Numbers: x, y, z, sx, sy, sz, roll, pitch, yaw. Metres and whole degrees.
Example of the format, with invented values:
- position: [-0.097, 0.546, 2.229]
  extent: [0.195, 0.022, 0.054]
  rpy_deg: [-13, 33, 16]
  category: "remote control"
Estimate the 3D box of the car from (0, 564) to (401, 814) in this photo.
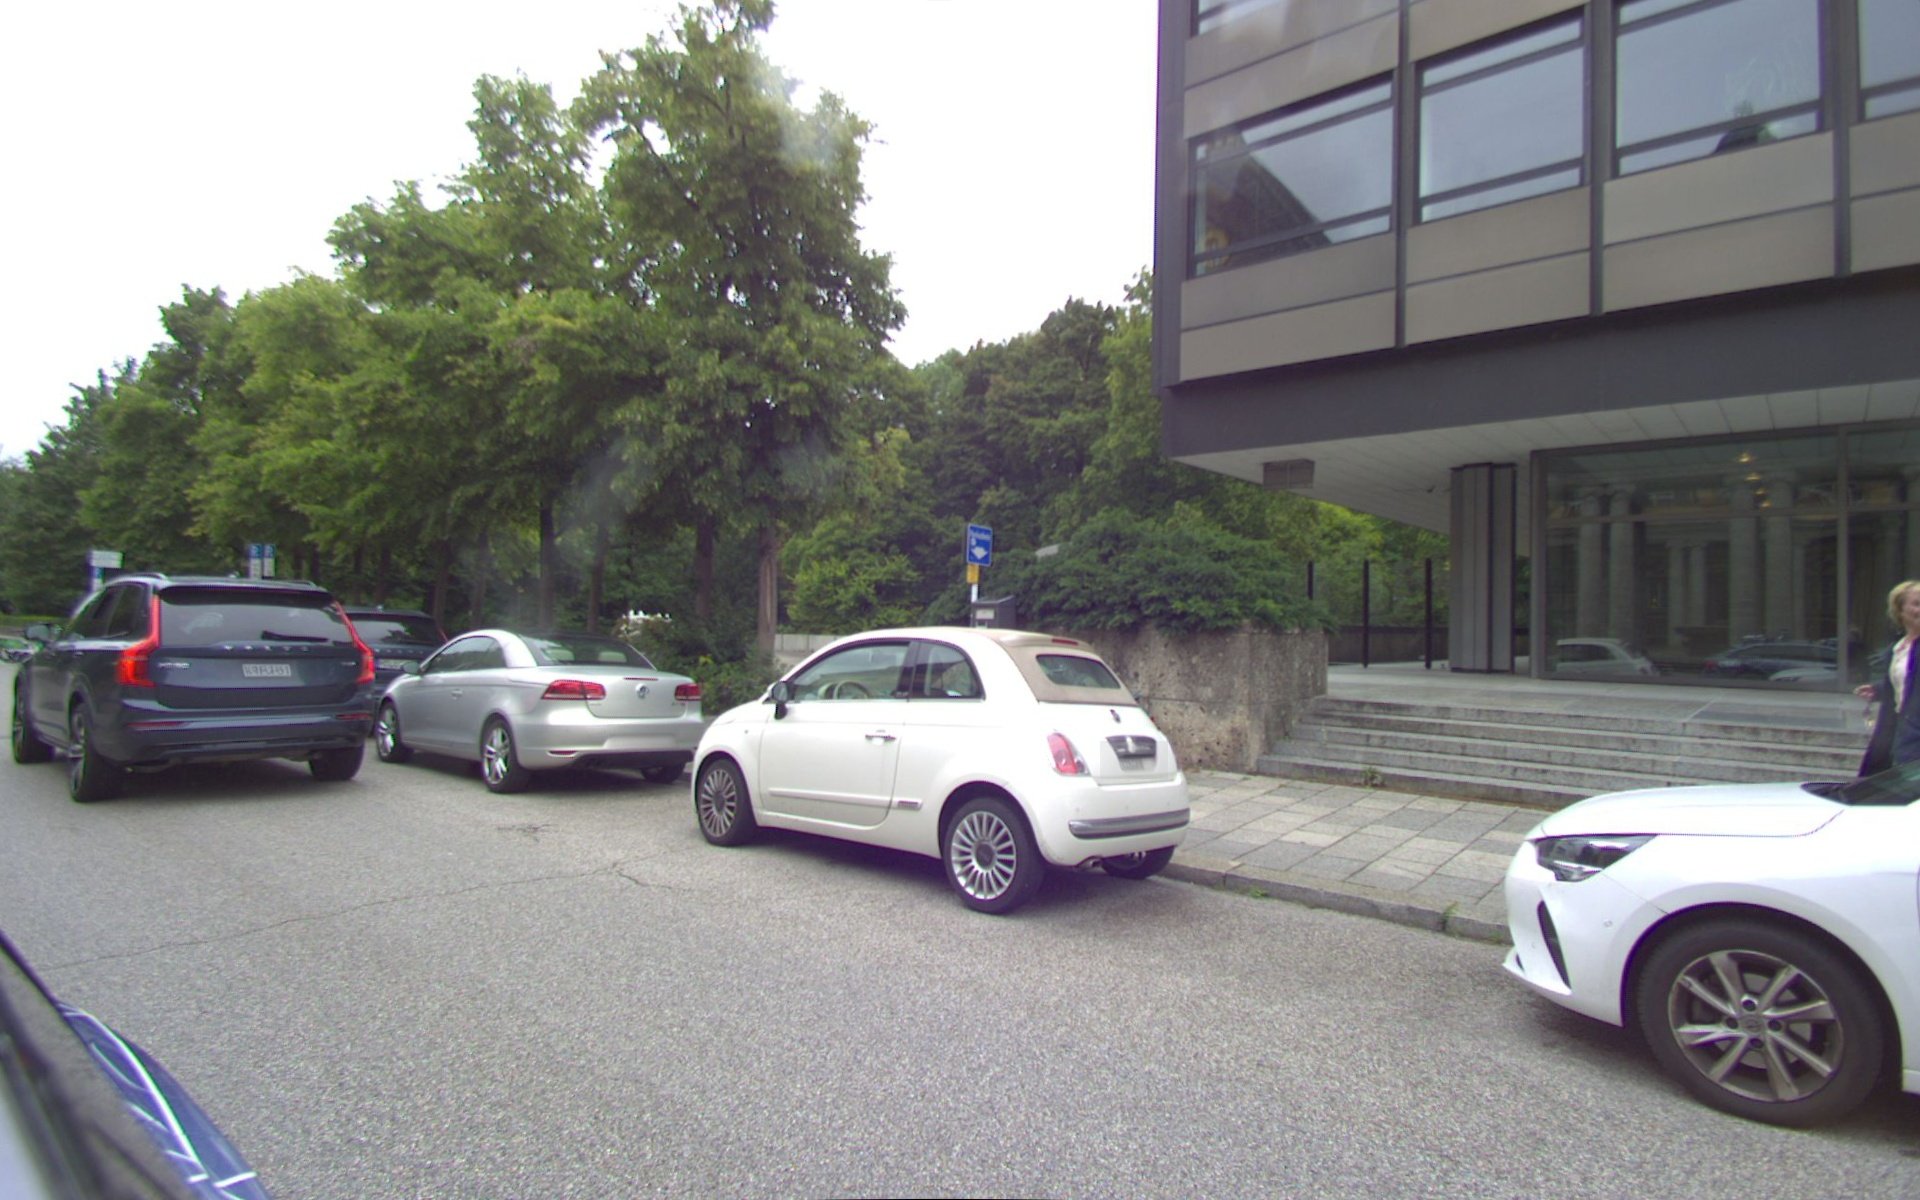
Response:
- position: [-7.141, 0.680, 9.224]
  extent: [4.909, 1.694, 1.940]
  rpy_deg: [-1, -4, 41]
  category: "car"

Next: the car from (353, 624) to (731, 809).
- position: [-4.228, 1.007, 9.894]
  extent: [4.217, 1.411, 1.739]
  rpy_deg: [-1, -6, 43]
  category: "car"

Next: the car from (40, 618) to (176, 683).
- position: [-21.202, 1.208, 25.126]
  extent: [4.363, 1.472, 1.972]
  rpy_deg: [-1, -3, 42]
  category: "car"

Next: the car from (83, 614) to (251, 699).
- position: [-16.340, 1.113, 20.770]
  extent: [4.363, 1.555, 1.972]
  rpy_deg: [-1, -3, 42]
  category: "car"

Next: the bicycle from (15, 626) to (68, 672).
- position: [-26.575, 1.401, 29.314]
  extent: [0.566, 1.292, 1.423]
  rpy_deg: [0, -1, -16]
  category: "bicycle"

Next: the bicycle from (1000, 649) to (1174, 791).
- position: [1.177, 1.084, 9.581]
  extent: [1.526, 1.173, 0.636]
  rpy_deg: [-1, 0, 40]
  category: "bicycle"

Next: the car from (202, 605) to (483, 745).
- position: [-8.533, 0.924, 13.825]
  extent: [4.520, 1.595, 1.973]
  rpy_deg: [-1, -3, 41]
  category: "car"

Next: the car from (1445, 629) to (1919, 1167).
- position: [3.869, 0.872, 2.789]
  extent: [4.278, 1.451, 1.663]
  rpy_deg: [-1, -5, 42]
  category: "car"

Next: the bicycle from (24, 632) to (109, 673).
- position: [-25.203, 1.471, 28.566]
  extent: [0.597, 1.116, 1.681]
  rpy_deg: [0, -2, 33]
  category: "bicycle"

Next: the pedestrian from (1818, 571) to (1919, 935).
- position: [5.129, 0.740, 5.169]
  extent: [0.882, 1.765, 0.689]
  rpy_deg: [0, 1, 8]
  category: "pedestrian"

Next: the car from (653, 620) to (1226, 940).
- position: [-0.288, 0.908, 6.493]
  extent: [3.551, 1.482, 1.527]
  rpy_deg: [-1, -4, 41]
  category: "car"
